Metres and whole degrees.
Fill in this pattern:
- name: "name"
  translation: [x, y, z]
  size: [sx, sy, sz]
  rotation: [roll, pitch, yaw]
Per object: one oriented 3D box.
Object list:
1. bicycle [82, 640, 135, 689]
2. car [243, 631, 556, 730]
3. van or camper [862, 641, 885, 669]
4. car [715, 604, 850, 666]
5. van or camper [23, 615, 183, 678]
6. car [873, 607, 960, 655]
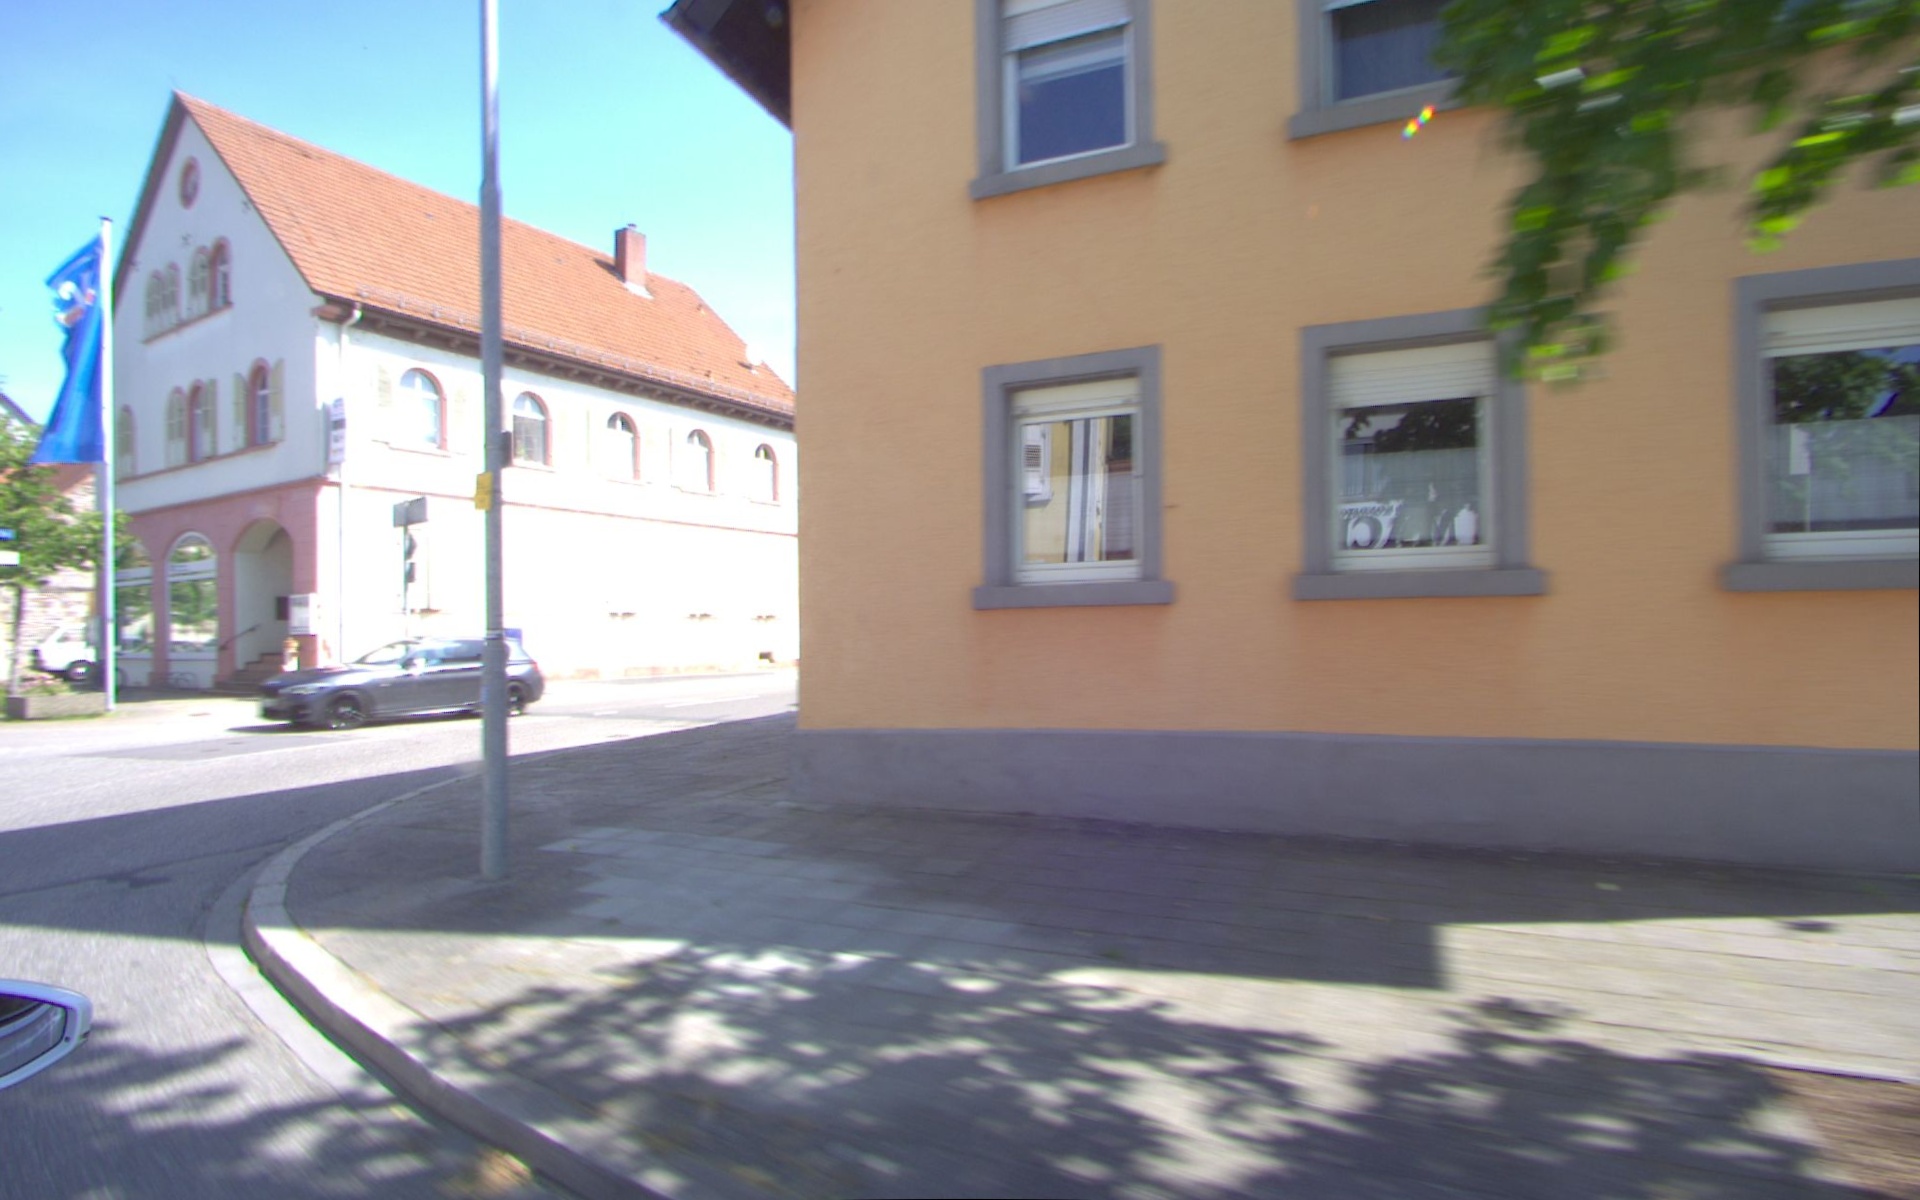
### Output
- name: "bicycle"
  translation: [-20.632, 1.544, 24.255]
  size: [1.725, 1.150, 0.591]
  rotation: [-1, -1, 36]
- name: "car"
  translation: [-9.109, 1.225, 16.634]
  size: [1.718, 1.394, 4.244]
  rotation: [-1, -2, 34]
- name: "van or camper"
  translation: [-3.054, 1.949, 35.365]
  size: [0.582, 0.964, 0.597]
  rotation: [0, -1, 30]
- name: "car"
  translation: [-6.851, 1.307, 38.477]
  size: [5.122, 2.225, 2.110]
  rotation: [-1, -1, 35]
- name: "van or camper"
  translation: [-29.467, 1.566, 34.502]
  size: [1.977, 2.039, 3.968]
  rotation: [-1, -1, 41]
- name: "car"
  translation: [-1.870, 1.369, 44.678]
  size: [1.967, 1.990, 4.655]
  rotation: [-1, -1, 25]
